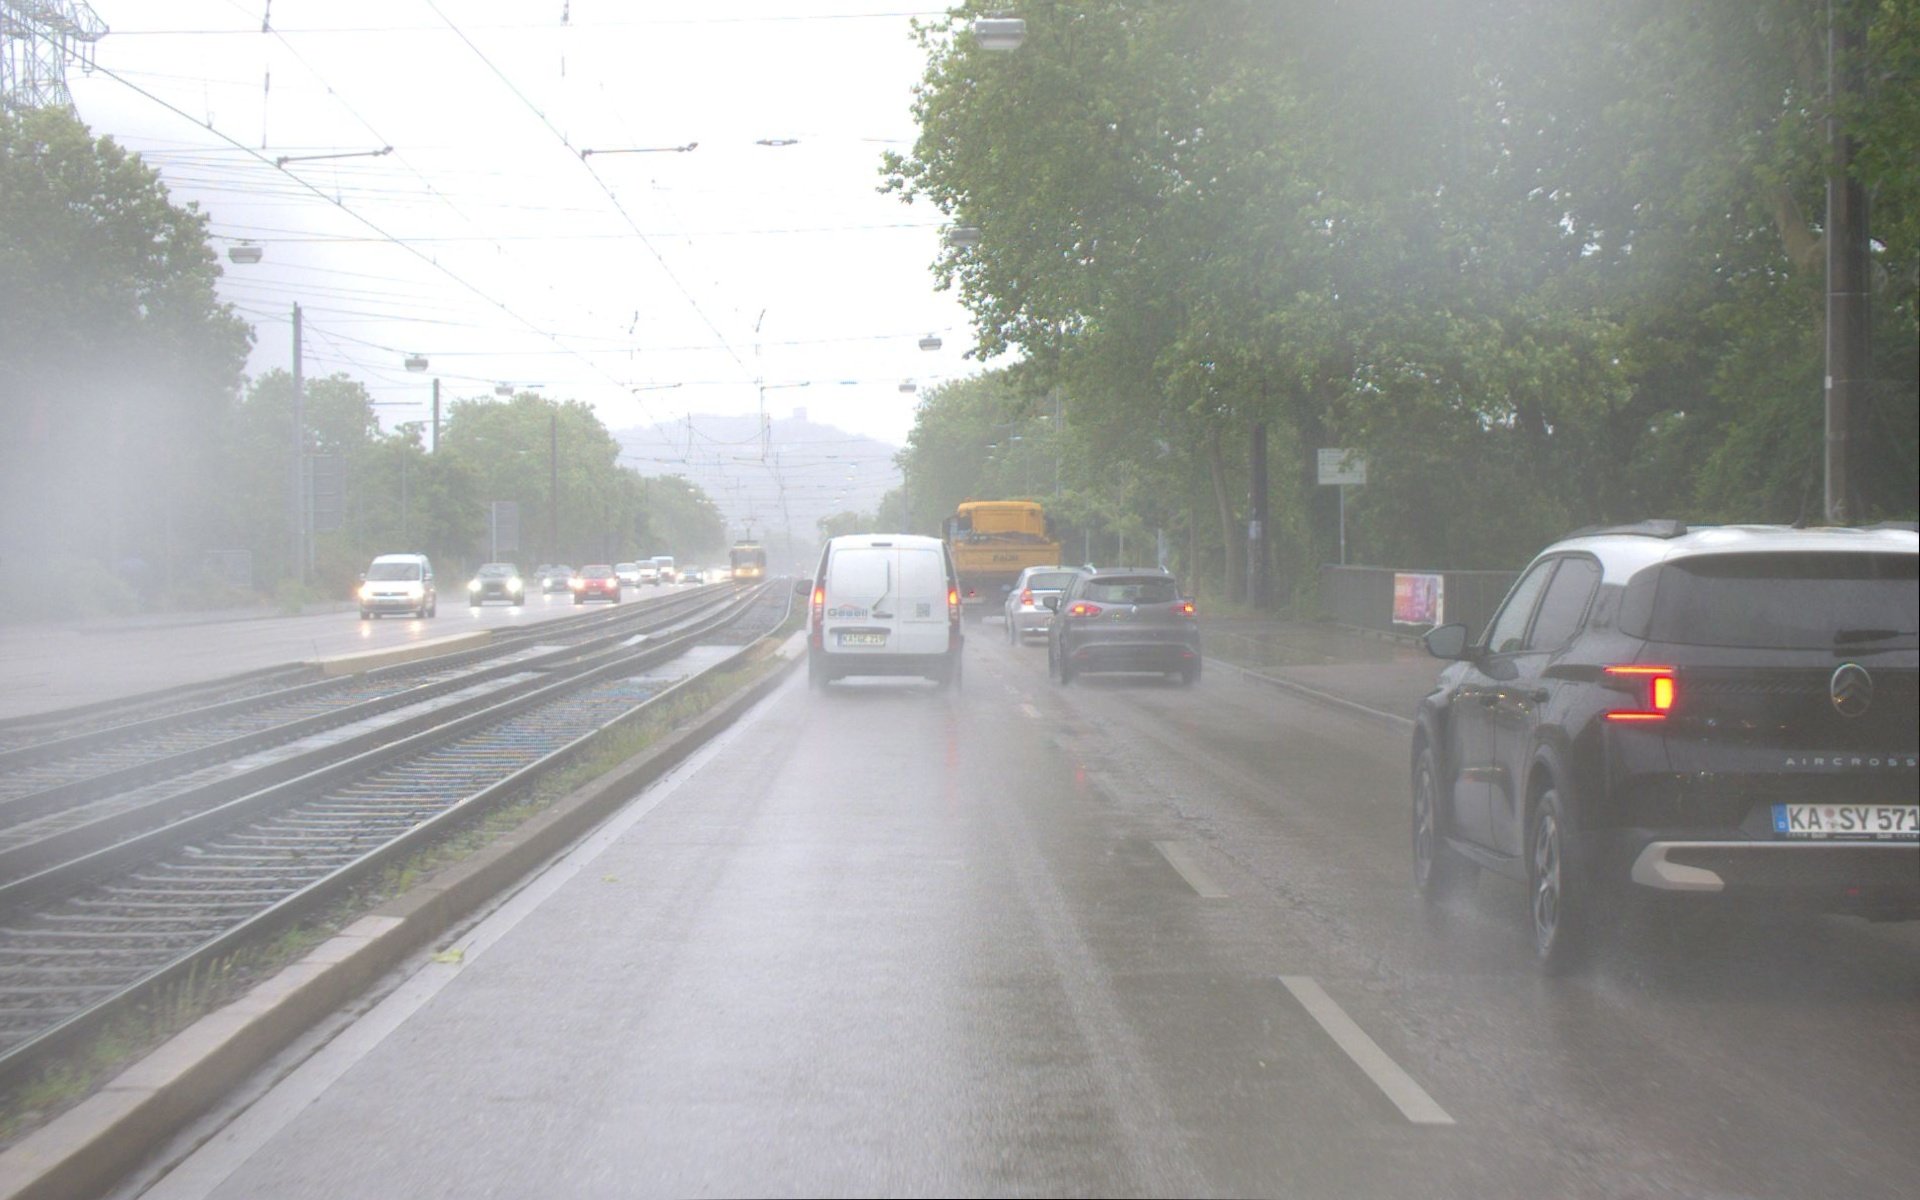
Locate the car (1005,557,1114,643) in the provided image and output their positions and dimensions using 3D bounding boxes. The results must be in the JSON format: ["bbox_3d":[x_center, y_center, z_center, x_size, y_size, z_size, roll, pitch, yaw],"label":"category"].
[{"bbox_3d":[1.769,-0.029,62.396,1.818,1.409,3.779,1,2,0],"label":"car"}]

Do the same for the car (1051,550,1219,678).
[{"bbox_3d":[2.104,0.139,42.220,1.818,1.409,3.779,1,2,0],"label":"car"}]

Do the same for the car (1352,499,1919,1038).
[{"bbox_3d":[2.865,0.484,13.420,1.899,1.711,4.726,1,2,-2],"label":"car"}]

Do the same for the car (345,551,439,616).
[{"bbox_3d":[-16.070,-0.490,97.478,1.993,1.809,4.659,0,1,-1],"label":"car"}]

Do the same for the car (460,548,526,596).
[{"bbox_3d":[-18.061,-1.099,133.139,1.993,1.809,4.000,0,1,0],"label":"car"}]

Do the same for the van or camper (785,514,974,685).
[{"bbox_3d":[-0.987,-0.051,39.801,1.993,1.778,4.001,2,2,-4],"label":"van or camper"}]

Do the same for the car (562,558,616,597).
[{"bbox_3d":[-14.580,-0.906,135.304,1.657,1.481,4.013,0,1,0],"label":"car"}]

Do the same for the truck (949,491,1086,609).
[{"bbox_3d":[1.352,-1.248,84.881,3.112,2.763,6.330,1,1,-1],"label":"truck"}]
